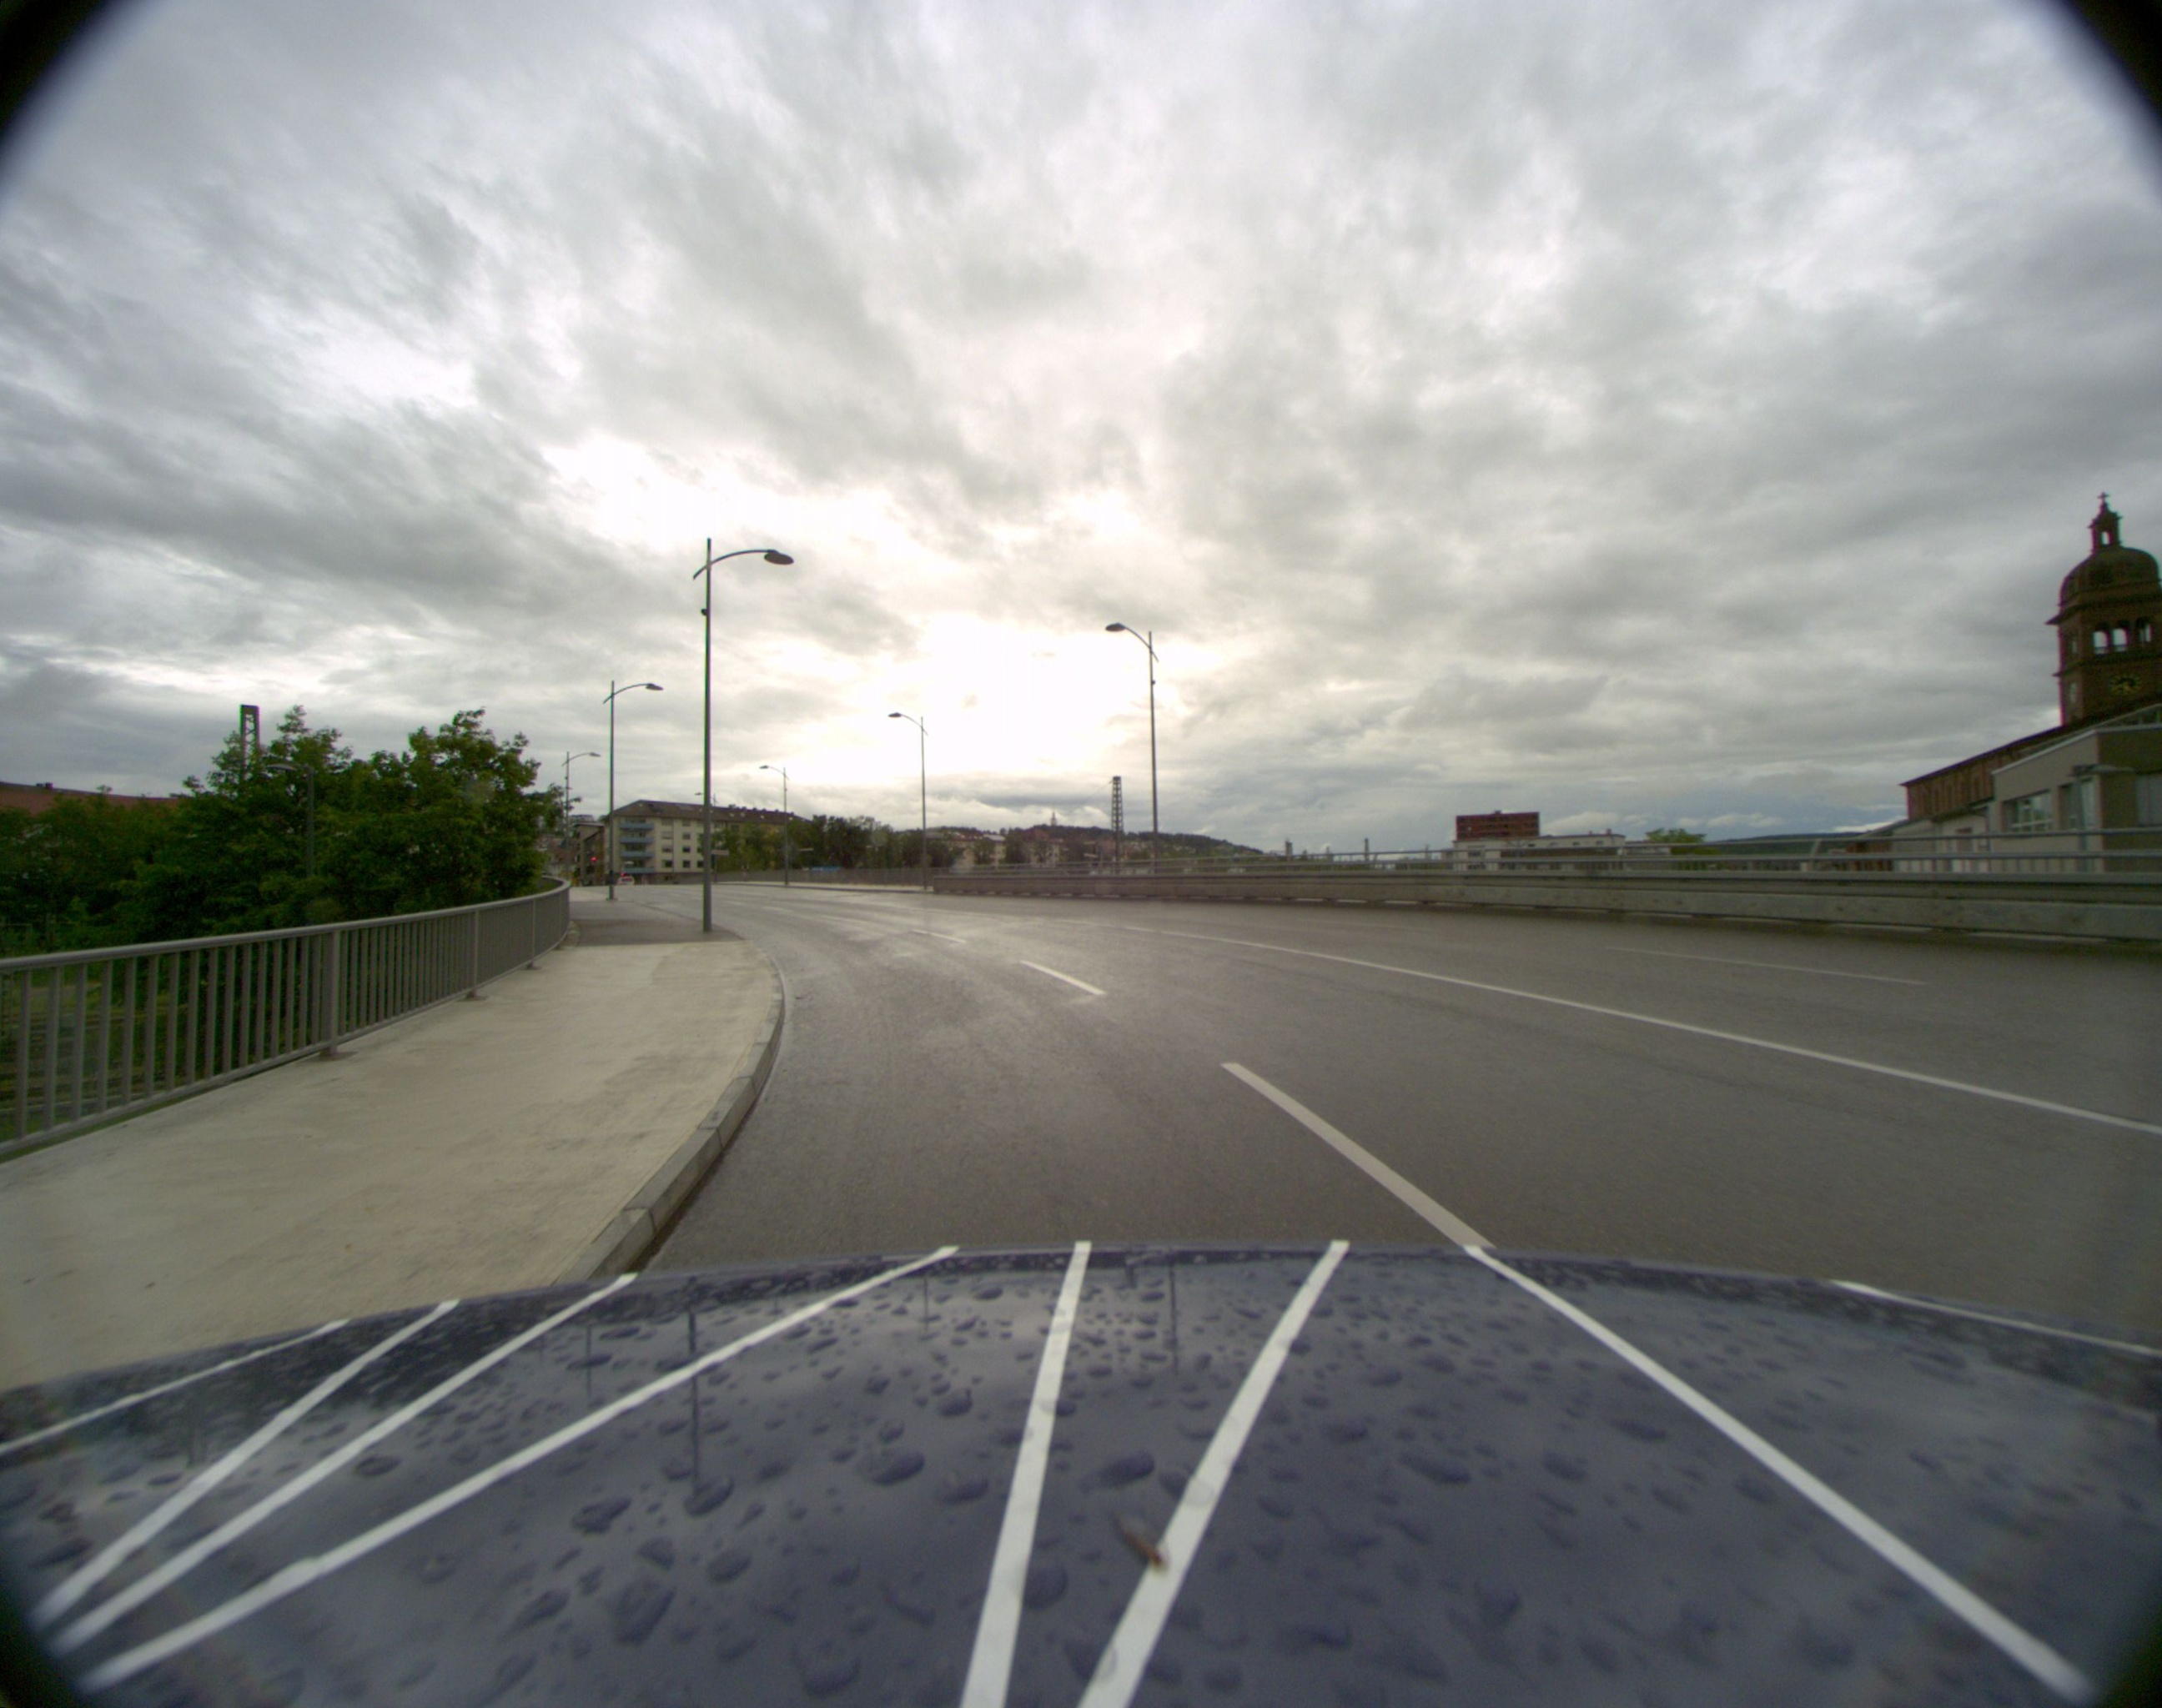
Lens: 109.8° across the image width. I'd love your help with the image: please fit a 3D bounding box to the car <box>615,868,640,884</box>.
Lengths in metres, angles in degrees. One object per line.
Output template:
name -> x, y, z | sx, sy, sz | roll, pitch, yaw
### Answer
car -> -64.620, 3.174, 108.273 | 1.896, 1.811, 4.947 | -5, -1, -44
